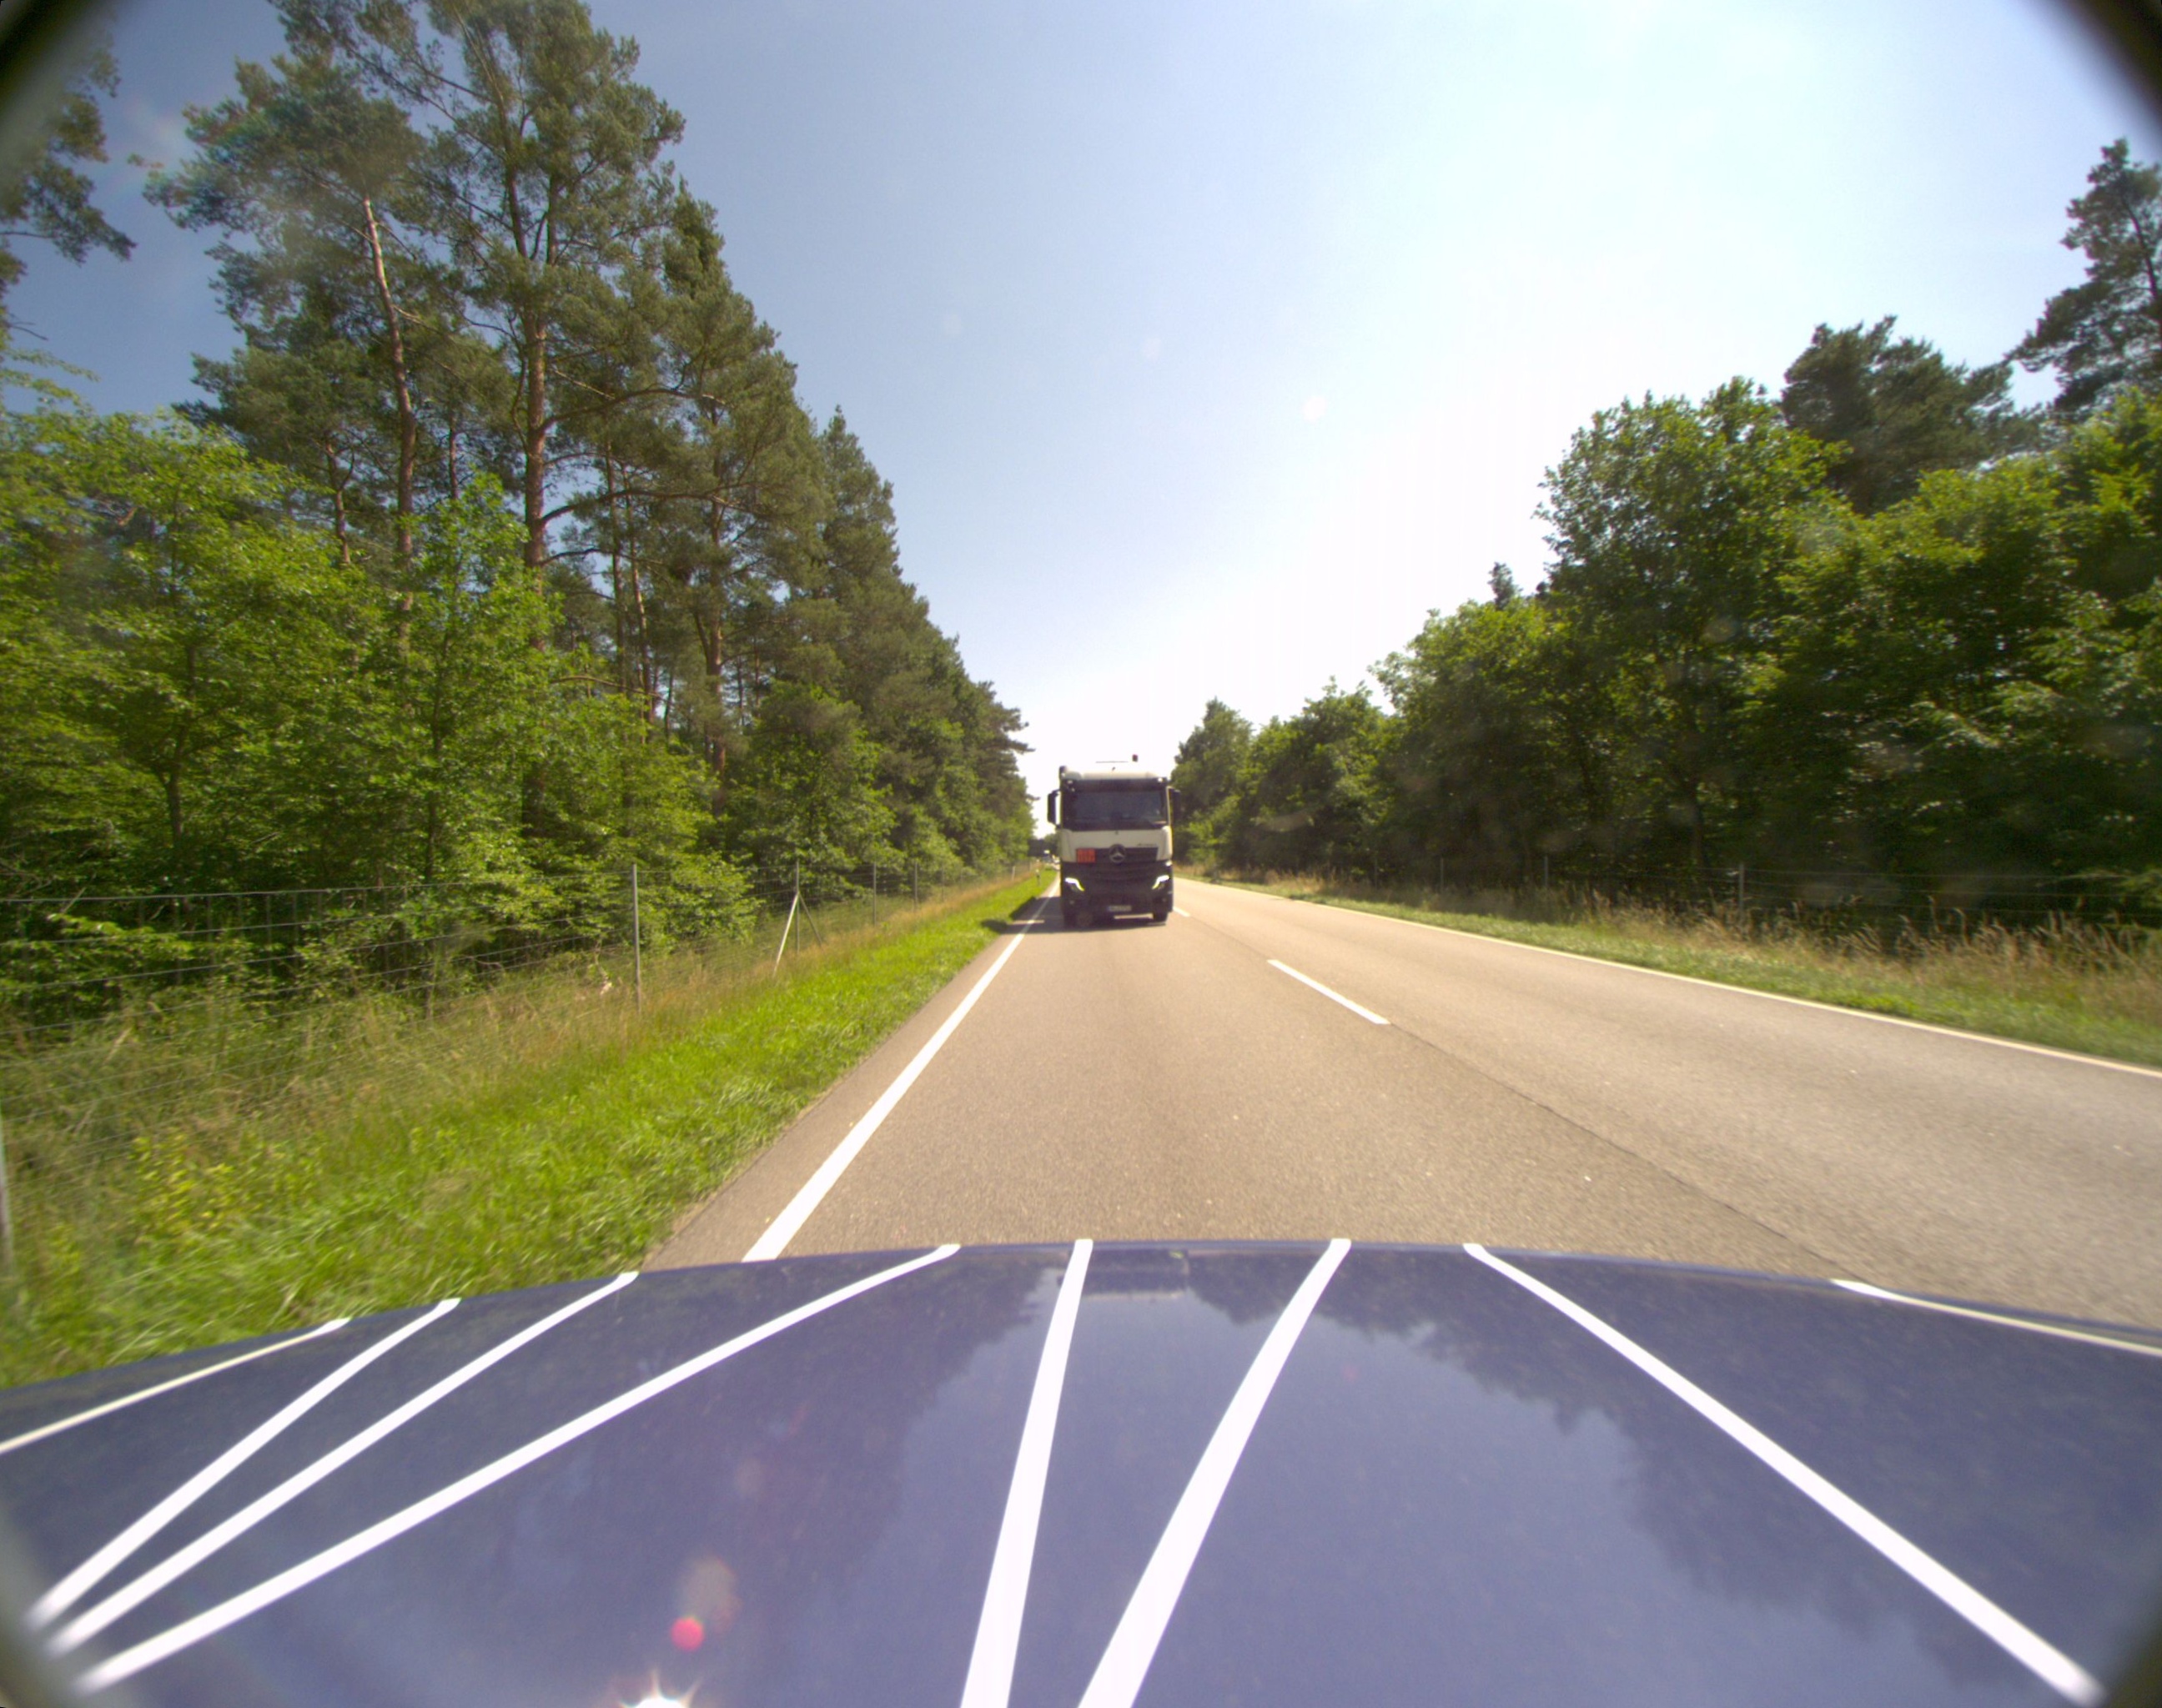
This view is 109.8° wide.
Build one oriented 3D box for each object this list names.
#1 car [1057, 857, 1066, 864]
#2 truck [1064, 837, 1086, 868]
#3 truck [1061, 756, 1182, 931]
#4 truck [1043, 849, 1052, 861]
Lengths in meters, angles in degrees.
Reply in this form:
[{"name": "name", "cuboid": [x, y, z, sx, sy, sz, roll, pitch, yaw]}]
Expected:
[{"name": "car", "cuboid": [-4.367, 1.447, 166.049, 1.885, 1.461, 3.999, -1, 0, -2]}, {"name": "truck", "cuboid": [-0.667, -0.190, 95.049, 2.494, 3.618, 6.104, -2, 0, 1]}, {"name": "truck", "cuboid": [0.790, -0.206, 19.384, 2.435, 3.672, 6.456, -2, 0, -2]}, {"name": "truck", "cuboid": [-10.811, 0.376, 247.269, 2.495, 3.619, 6.100, -1, 0, -7]}]
